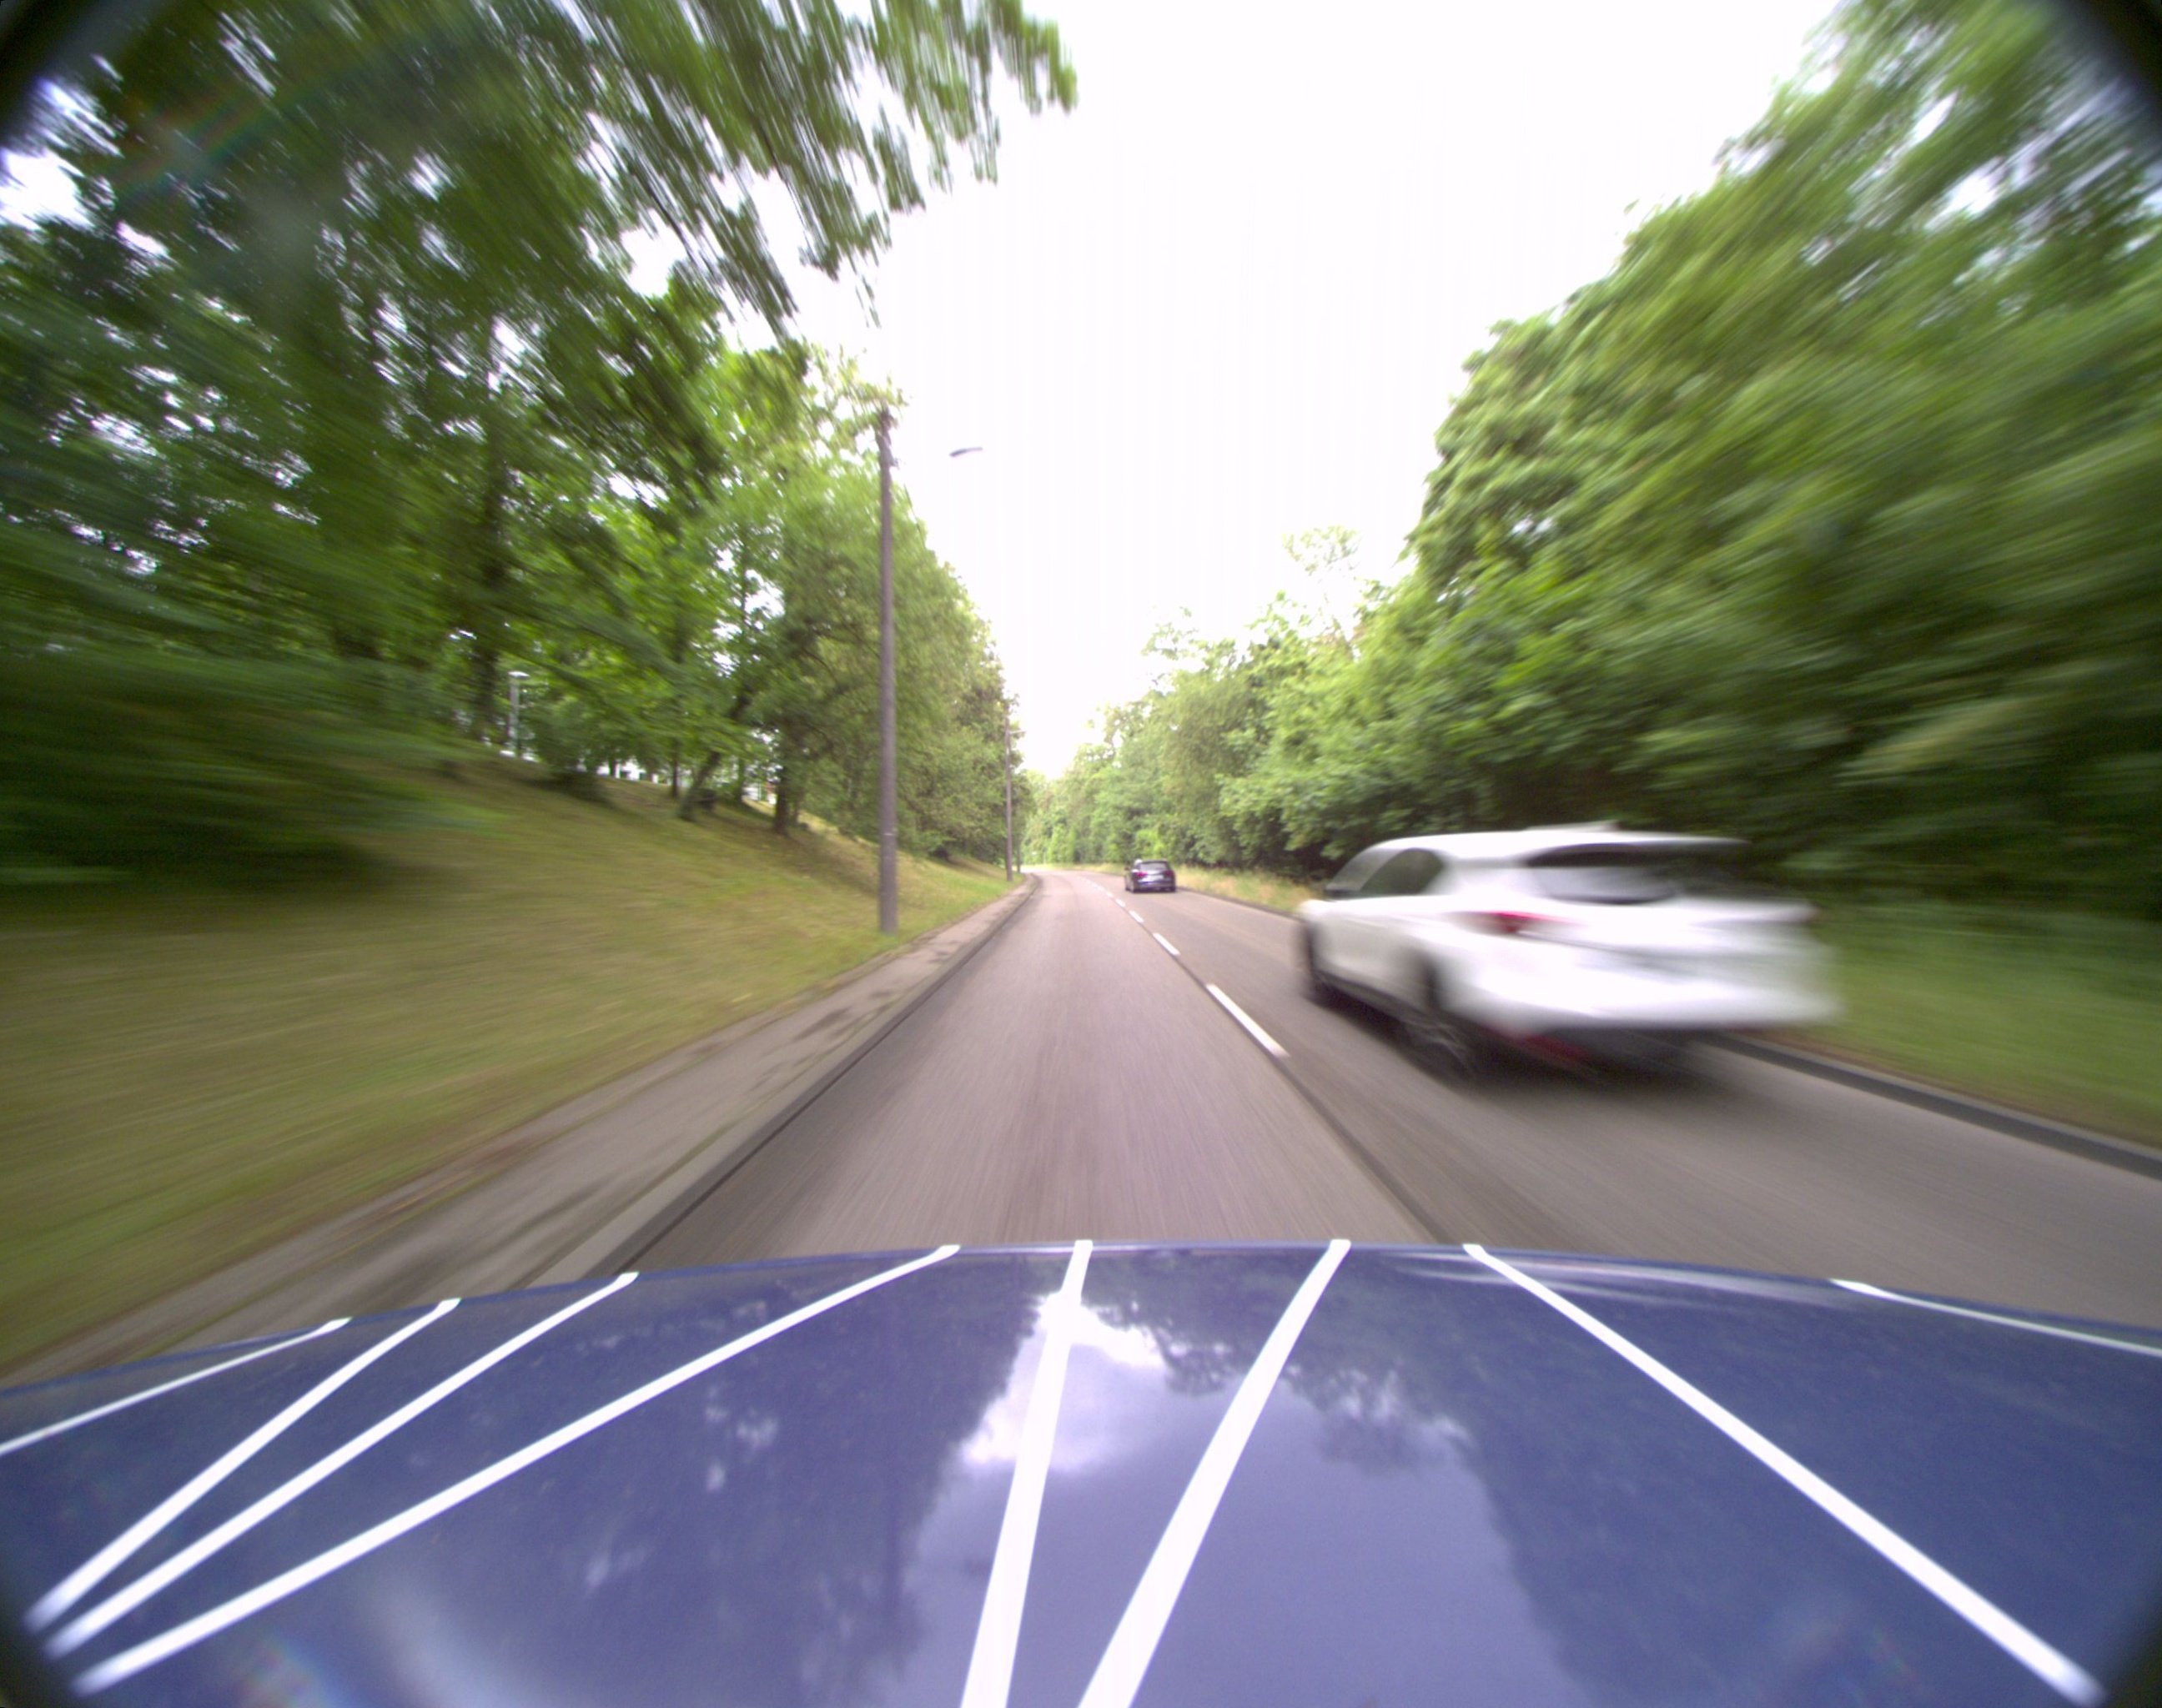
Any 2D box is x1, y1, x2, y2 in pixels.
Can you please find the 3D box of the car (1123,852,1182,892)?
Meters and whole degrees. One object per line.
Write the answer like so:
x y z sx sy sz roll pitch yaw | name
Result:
3.062 0.739 33.345 2.035 1.499 4.594 -3 1 -1 | car

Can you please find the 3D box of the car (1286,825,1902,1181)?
3.133 0.710 5.904 1.823 1.685 4.286 -3 1 -1 | car
